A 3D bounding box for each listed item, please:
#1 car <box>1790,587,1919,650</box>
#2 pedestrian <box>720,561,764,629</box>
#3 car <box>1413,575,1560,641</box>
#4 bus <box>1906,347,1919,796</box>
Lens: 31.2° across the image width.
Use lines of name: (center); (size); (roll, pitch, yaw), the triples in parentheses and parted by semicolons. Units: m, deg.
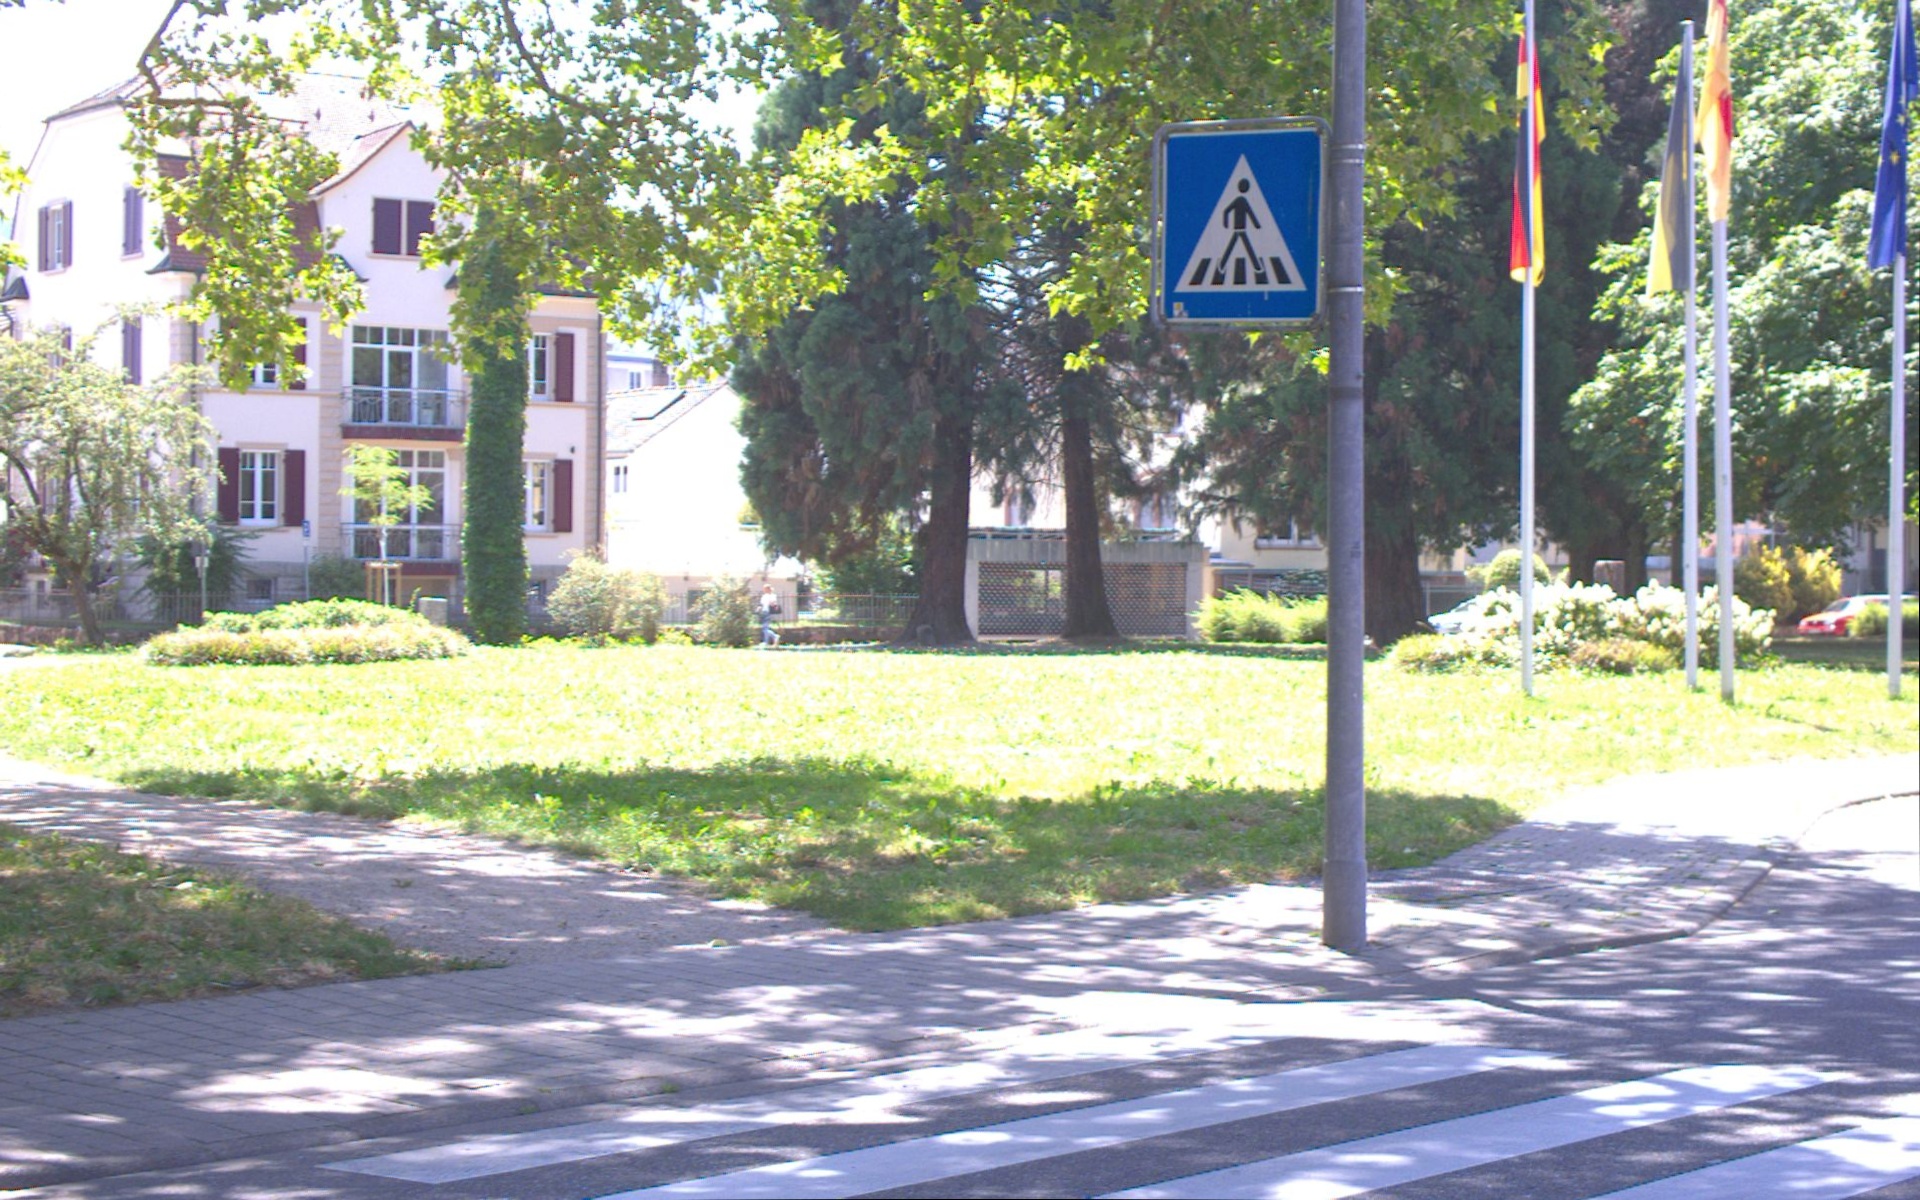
car: (28.085, 0.579, 107.725); (3.988, 1.831, 1.876); (2, 1, -38)
pedestrian: (-4.543, -0.114, 71.675); (0.824, 1.366, 0.618); (3, 1, 1)
car: (15.106, 0.238, 98.541); (3.988, 1.745, 1.876); (2, 1, -38)
bus: (12.005, -0.220, 28.907); (2.815, 3.272, 12.395); (1, 1, 40)
